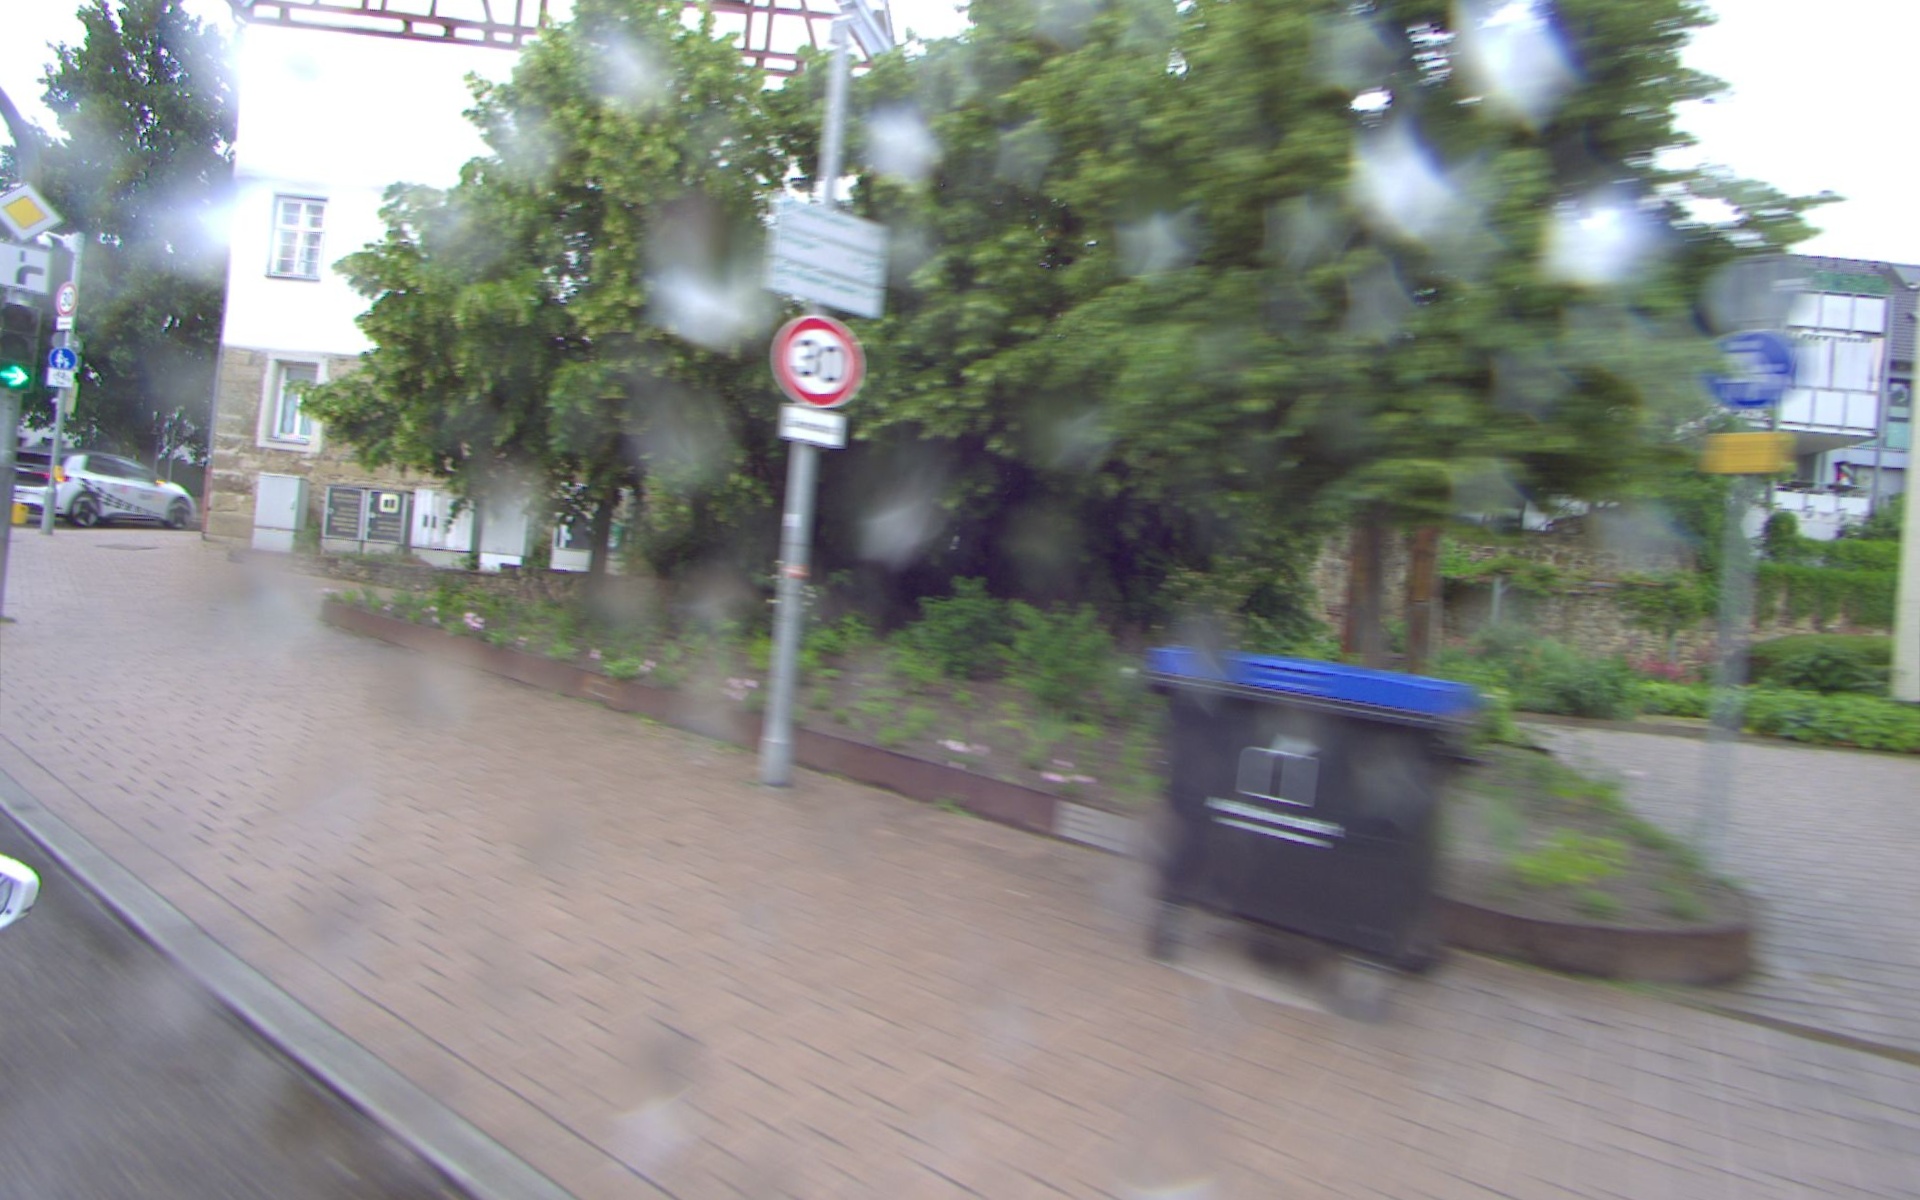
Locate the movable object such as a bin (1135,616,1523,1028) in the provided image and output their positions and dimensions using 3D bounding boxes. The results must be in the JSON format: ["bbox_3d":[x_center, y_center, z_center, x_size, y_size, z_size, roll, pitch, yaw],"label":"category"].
[{"bbox_3d":[1.590,0.814,4.279,1.168,1.329,1.154,6,0,36],"label":"movable object such as a bin"}]

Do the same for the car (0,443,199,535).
[{"bbox_3d":[-18.474,-2.299,21.304,1.830,1.492,3.993,7,1,-6],"label":"car"}]
